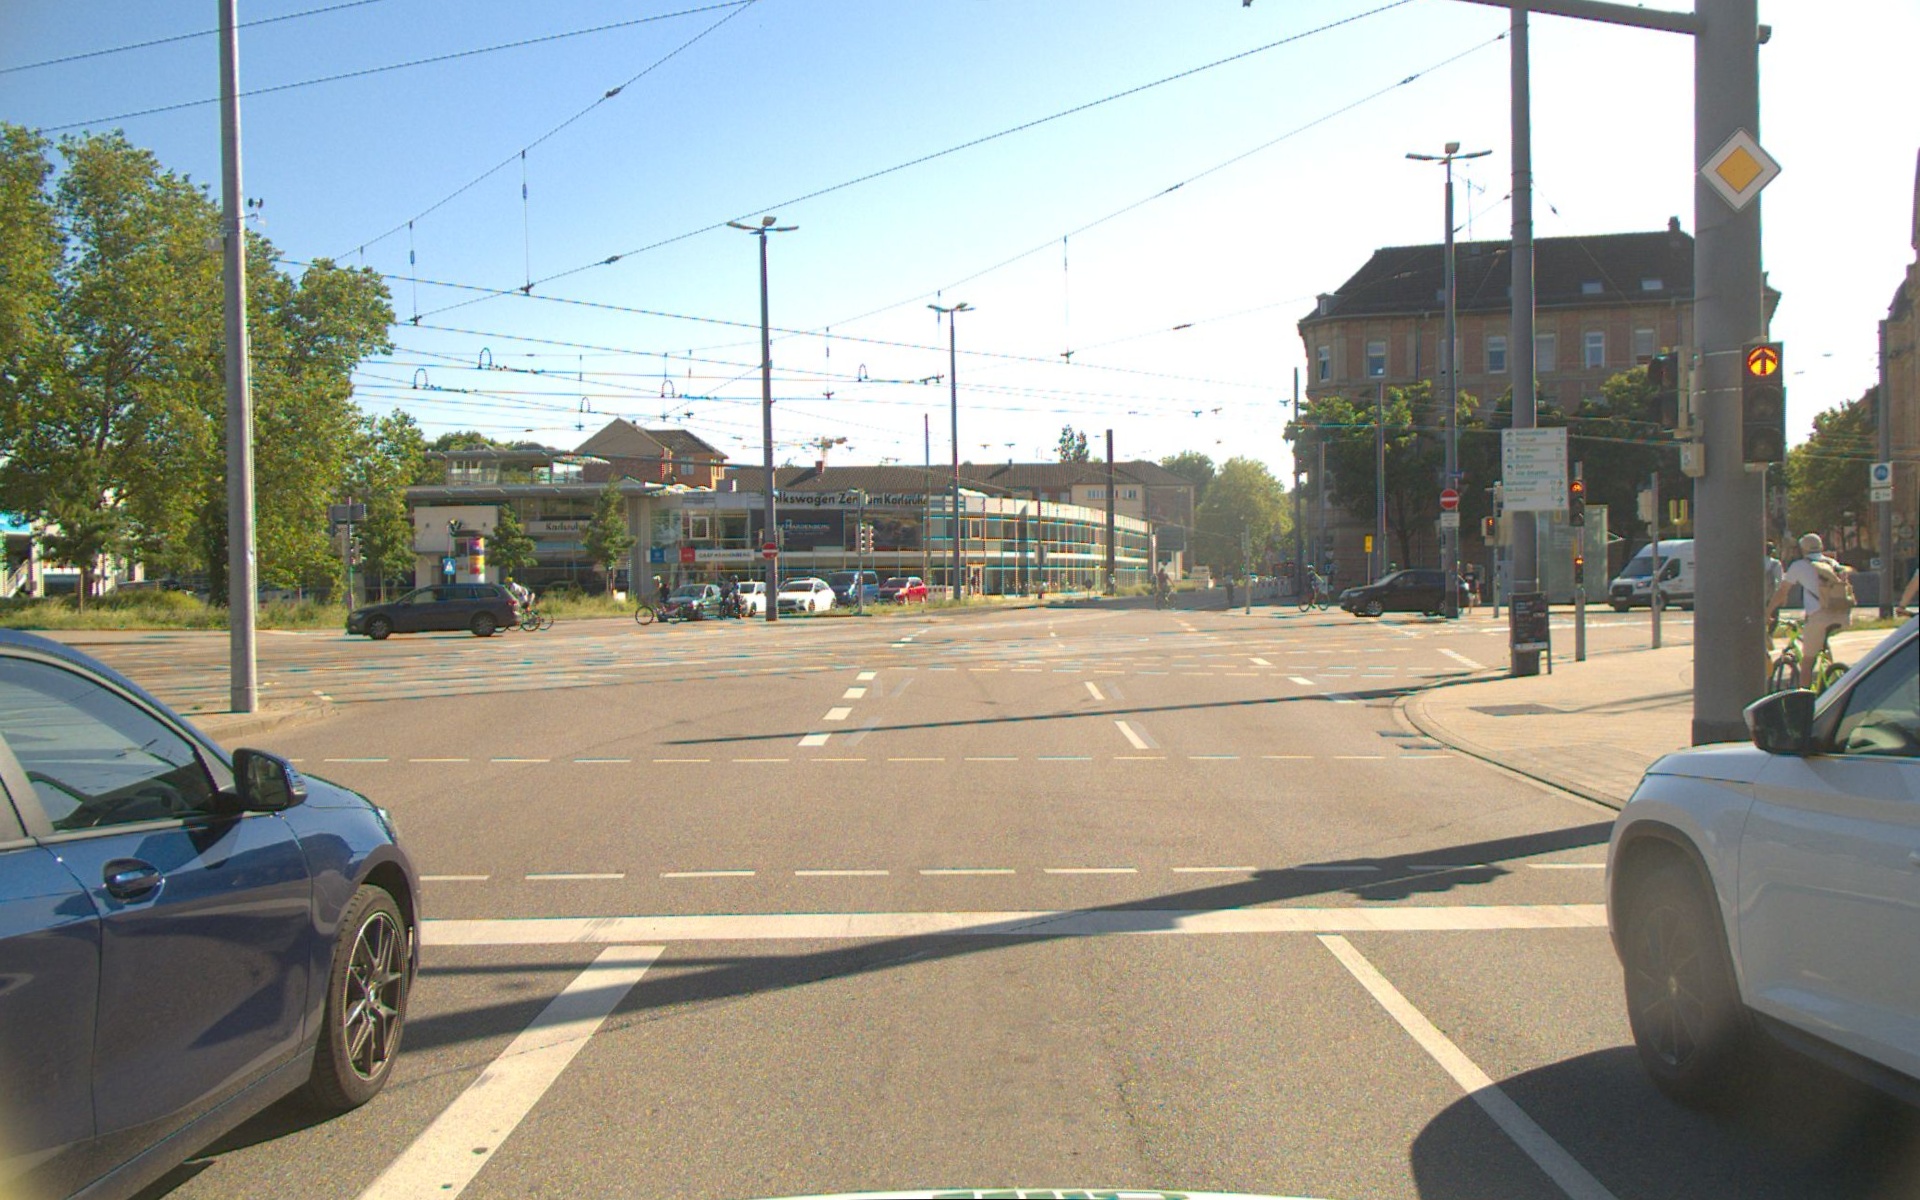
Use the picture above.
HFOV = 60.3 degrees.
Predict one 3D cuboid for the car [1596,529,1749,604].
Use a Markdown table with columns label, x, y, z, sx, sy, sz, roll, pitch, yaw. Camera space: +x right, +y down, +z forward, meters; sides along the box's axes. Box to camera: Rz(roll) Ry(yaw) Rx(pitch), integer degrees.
| label | x | y | z | sx | sy | sz | roll | pitch | yaw |
| --- | --- | --- | --- | --- | --- | --- | --- | --- | --- |
| car | 27.235 | -1.290 | 63.203 | 5.833 | 2.792 | 2.126 | -1 | 1 | -27 |

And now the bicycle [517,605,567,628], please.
| label | x | y | z | sx | sy | sz | roll | pitch | yaw |
| --- | --- | --- | --- | --- | --- | --- | --- | --- | --- |
| bicycle | -14.283 | 0.553 | 56.523 | 1.605 | 0.730 | 0.421 | -1 | 1 | -20 |

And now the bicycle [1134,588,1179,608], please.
| label | x | y | z | sx | sy | sz | roll | pitch | yaw |
| --- | --- | --- | --- | --- | --- | --- | --- | --- | --- |
| bicycle | 8.753 | -0.094 | 73.682 | 1.902 | 0.885 | 0.739 | -1 | 0 | -28 |

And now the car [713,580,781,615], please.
| label | x | y | z | sx | sy | sz | roll | pitch | yaw |
| --- | --- | --- | --- | --- | --- | --- | --- | --- | --- |
| car | -9.052 | -0.130 | 70.431 | 1.591 | 1.448 | 3.689 | -1 | 1 | 14 |

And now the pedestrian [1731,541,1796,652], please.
| label | x | y | z | sx | sy | sz | roll | pitch | yaw |
| --- | --- | --- | --- | --- | --- | --- | --- | --- | --- |
| pedestrian | 14.075 | -0.066 | 28.965 | 0.880 | 1.892 | 0.924 | 0 | 1 | 35 |

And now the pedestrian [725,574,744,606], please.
| label | x | y | z | sx | sy | sz | roll | pitch | yaw |
| --- | --- | --- | --- | --- | --- | --- | --- | --- | --- |
| pedestrian | -8.720 | -0.391 | 64.012 | 0.413 | 1.225 | 0.750 | -1 | 0 | 17 |

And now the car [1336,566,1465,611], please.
| label | x | y | z | sx | sy | sz | roll | pitch | yaw |
| --- | --- | --- | --- | --- | --- | --- | --- | --- | --- |
| car | 15.847 | -0.412 | 59.595 | 4.168 | 1.529 | 1.703 | -1 | 1 | -5 |

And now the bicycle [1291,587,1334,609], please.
| label | x | y | z | sx | sy | sz | roll | pitch | yaw |
| --- | --- | --- | --- | --- | --- | --- | --- | --- | --- |
| bicycle | 14.339 | -0.081 | 67.240 | 1.916 | 0.885 | 0.733 | -1 | 1 | -43 |

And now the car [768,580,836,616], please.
| label | x | y | z | sx | sy | sz | roll | pitch | yaw |
| --- | --- | --- | --- | --- | --- | --- | --- | --- | --- |
| car | -6.521 | -0.112 | 68.559 | 1.591 | 1.406 | 3.741 | -1 | 1 | 14 |

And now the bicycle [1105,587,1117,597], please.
| label | x | y | z | sx | sy | sz | roll | pitch | yaw |
| --- | --- | --- | --- | --- | --- | --- | --- | --- | --- |
| bicycle | 11.461 | -0.584 | 125.140 | 0.414 | 0.730 | 1.474 | -1 | 1 | 26 |

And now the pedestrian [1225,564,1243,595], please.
| label | x | y | z | sx | sy | sz | roll | pitch | yaw |
| --- | --- | --- | --- | --- | --- | --- | --- | --- | --- |
| pedestrian | 13.810 | -1.023 | 83.258 | 0.731 | 1.549 | 0.718 | 0 | 0 | 23 |

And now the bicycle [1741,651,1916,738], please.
| label | x | y | z | sx | sy | sz | roll | pitch | yaw |
| --- | --- | --- | --- | --- | --- | --- | --- | --- | --- |
| bicycle | 8.133 | 0.865 | 15.570 | 0.527 | 0.667 | 1.722 | -3 | 1 | -8 |

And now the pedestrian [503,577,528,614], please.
| label | x | y | z | sx | sy | sz | roll | pitch | yaw |
| --- | --- | --- | --- | --- | --- | --- | --- | --- | --- |
| pedestrian | -14.670 | -0.152 | 54.642 | 0.737 | 1.225 | 0.421 | -1 | 0 | -23 |

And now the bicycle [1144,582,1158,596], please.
| label | x | y | z | sx | sy | sz | roll | pitch | yaw |
| --- | --- | --- | --- | --- | --- | --- | --- | --- | --- |
| bicycle | 15.494 | -0.882 | 134.134 | 0.793 | 1.063 | 2.128 | -1 | 1 | 18 |

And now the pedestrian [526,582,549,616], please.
| label | x | y | z | sx | sy | sz | roll | pitch | yaw |
| --- | --- | --- | --- | --- | --- | --- | --- | --- | --- |
| pedestrian | -14.428 | -0.038 | 56.471 | 0.736 | 1.146 | 0.421 | -1 | 0 | -20 |

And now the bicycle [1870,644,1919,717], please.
| label | x | y | z | sx | sy | sz | roll | pitch | yaw |
| --- | --- | --- | --- | --- | --- | --- | --- | --- | --- |
| bicycle | 9.543 | 0.793 | 15.997 | 0.527 | 0.667 | 1.465 | -2 | 1 | -7 |

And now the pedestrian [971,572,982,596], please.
| label | x | y | z | sx | sy | sz | roll | pitch | yaw |
| --- | --- | --- | --- | --- | --- | --- | --- | --- | --- |
| pedestrian | 1.159 | -1.142 | 116.986 | 0.534 | 1.718 | 0.626 | 0 | 0 | 42 |

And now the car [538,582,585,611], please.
| label | x | y | z | sx | sy | sz | roll | pitch | yaw |
| --- | --- | --- | --- | --- | --- | --- | --- | --- | --- |
| car | -24.876 | -0.260 | 103.422 | 1.926 | 1.735 | 4.083 | -1 | 1 | 0 |

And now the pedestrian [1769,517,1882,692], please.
| label | x | y | z | sx | sy | sz | roll | pitch | yaw |
| --- | --- | --- | --- | --- | --- | --- | --- | --- | --- |
| pedestrian | 8.128 | 0.034 | 15.550 | 0.538 | 1.590 | 0.856 | -1 | 0 | -8 |

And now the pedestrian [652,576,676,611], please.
| label | x | y | z | sx | sy | sz | roll | pitch | yaw |
| --- | --- | --- | --- | --- | --- | --- | --- | --- | --- |
| pedestrian | -10.607 | -0.248 | 59.236 | 0.782 | 1.225 | 0.557 | -1 | 0 | -19 |

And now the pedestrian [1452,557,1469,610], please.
| label | x | y | z | sx | sy | sz | roll | pitch | yaw |
| --- | --- | --- | --- | --- | --- | --- | --- | --- | --- |
| pedestrian | 19.516 | -0.632 | 64.482 | 0.453 | 2.049 | 0.449 | -1 | 1 | -18 |

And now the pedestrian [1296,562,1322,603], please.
| label | x | y | z | sx | sy | sz | roll | pitch | yaw |
| --- | --- | --- | --- | --- | --- | --- | --- | --- | --- |
| pedestrian | 14.138 | -0.713 | 67.058 | 0.712 | 1.660 | 0.747 | -1 | 0 | -42 |

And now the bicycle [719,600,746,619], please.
| label | x | y | z | sx | sy | sz | roll | pitch | yaw |
| --- | --- | --- | --- | --- | --- | --- | --- | --- | --- |
| bicycle | -8.774 | 0.364 | 63.834 | 0.413 | 0.730 | 1.635 | -1 | 1 | 17 |

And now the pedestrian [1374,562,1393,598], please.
| label | x | y | z | sx | sy | sz | roll | pitch | yaw |
| --- | --- | --- | --- | --- | --- | --- | --- | --- | --- |
| pedestrian | 18.132 | -0.868 | 70.821 | 0.538 | 1.543 | 0.702 | 0 | 0 | 41 |

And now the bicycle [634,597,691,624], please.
| label | x | y | z | sx | sy | sz | roll | pitch | yaw |
| --- | --- | --- | --- | --- | --- | --- | --- | --- | --- |
| bicycle | -10.651 | 0.369 | 59.225 | 1.974 | 0.929 | 0.559 | -1 | 0 | -19 |

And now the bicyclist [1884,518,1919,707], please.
| label | x | y | z | sx | sy | sz | roll | pitch | yaw |
| --- | --- | --- | --- | --- | --- | --- | --- | --- | --- |
| bicyclist | 9.537 | 0.109 | 15.867 | 0.733 | 1.809 | 0.922 | -2 | 0 | -7 |

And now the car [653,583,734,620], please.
| label | x | y | z | sx | sy | sz | roll | pitch | yaw |
| --- | --- | --- | --- | --- | --- | --- | --- | --- | --- |
| car | -10.343 | 0.030 | 64.472 | 1.667 | 1.378 | 3.703 | -1 | 1 | 17 |

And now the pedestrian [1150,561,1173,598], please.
| label | x | y | z | sx | sy | sz | roll | pitch | yaw |
| --- | --- | --- | --- | --- | --- | --- | --- | --- | --- |
| pedestrian | 8.986 | -0.914 | 73.857 | 0.708 | 1.660 | 0.798 | -1 | 0 | -28 |

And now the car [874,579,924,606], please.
| label | x | y | z | sx | sy | sz | roll | pitch | yaw |
| --- | --- | --- | --- | --- | --- | --- | --- | --- | --- |
| car | -3.298 | -0.414 | 89.714 | 1.592 | 1.388 | 3.688 | -1 | 1 | 16 |

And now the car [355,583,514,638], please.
| label | x | y | z | sx | sy | sz | roll | pitch | yaw |
| --- | --- | --- | --- | --- | --- | --- | --- | --- | --- |
| car | -14.660 | 0.269 | 46.206 | 4.148 | 1.425 | 1.848 | -1 | 1 | -20 |

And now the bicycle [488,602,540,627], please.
| label | x | y | z | sx | sy | sz | roll | pitch | yaw |
| --- | --- | --- | --- | --- | --- | --- | --- | --- | --- |
| bicycle | -14.728 | 0.471 | 54.617 | 1.607 | 0.772 | 0.421 | -1 | 1 | -23 |

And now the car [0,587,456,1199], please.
| label | x | y | z | sx | sy | sz | roll | pitch | yaw |
| --- | --- | --- | --- | --- | --- | --- | --- | --- | --- |
| car | -2.484 | 0.713 | 3.367 | 1.676 | 1.470 | 4.031 | 1 | 0 | 0 |

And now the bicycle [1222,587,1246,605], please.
| label | x | y | z | sx | sy | sz | roll | pitch | yaw |
| --- | --- | --- | --- | --- | --- | --- | --- | --- | --- |
| bicycle | 13.785 | -0.220 | 83.184 | 0.728 | 0.885 | 1.931 | 0 | 1 | 23 |

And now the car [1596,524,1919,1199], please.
| label | x | y | z | sx | sy | sz | roll | pitch | yaw |
| --- | --- | --- | --- | --- | --- | --- | --- | --- | --- |
| car | 3.013 | 0.659 | 3.396 | 1.660 | 1.670 | 4.296 | -1 | 1 | -2 |

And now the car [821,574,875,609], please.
| label | x | y | z | sx | sy | sz | roll | pitch | yaw |
| --- | --- | --- | --- | --- | --- | --- | --- | --- | --- |
| car | -5.555 | -0.443 | 82.579 | 1.591 | 1.722 | 3.689 | -1 | 1 | 14 |
